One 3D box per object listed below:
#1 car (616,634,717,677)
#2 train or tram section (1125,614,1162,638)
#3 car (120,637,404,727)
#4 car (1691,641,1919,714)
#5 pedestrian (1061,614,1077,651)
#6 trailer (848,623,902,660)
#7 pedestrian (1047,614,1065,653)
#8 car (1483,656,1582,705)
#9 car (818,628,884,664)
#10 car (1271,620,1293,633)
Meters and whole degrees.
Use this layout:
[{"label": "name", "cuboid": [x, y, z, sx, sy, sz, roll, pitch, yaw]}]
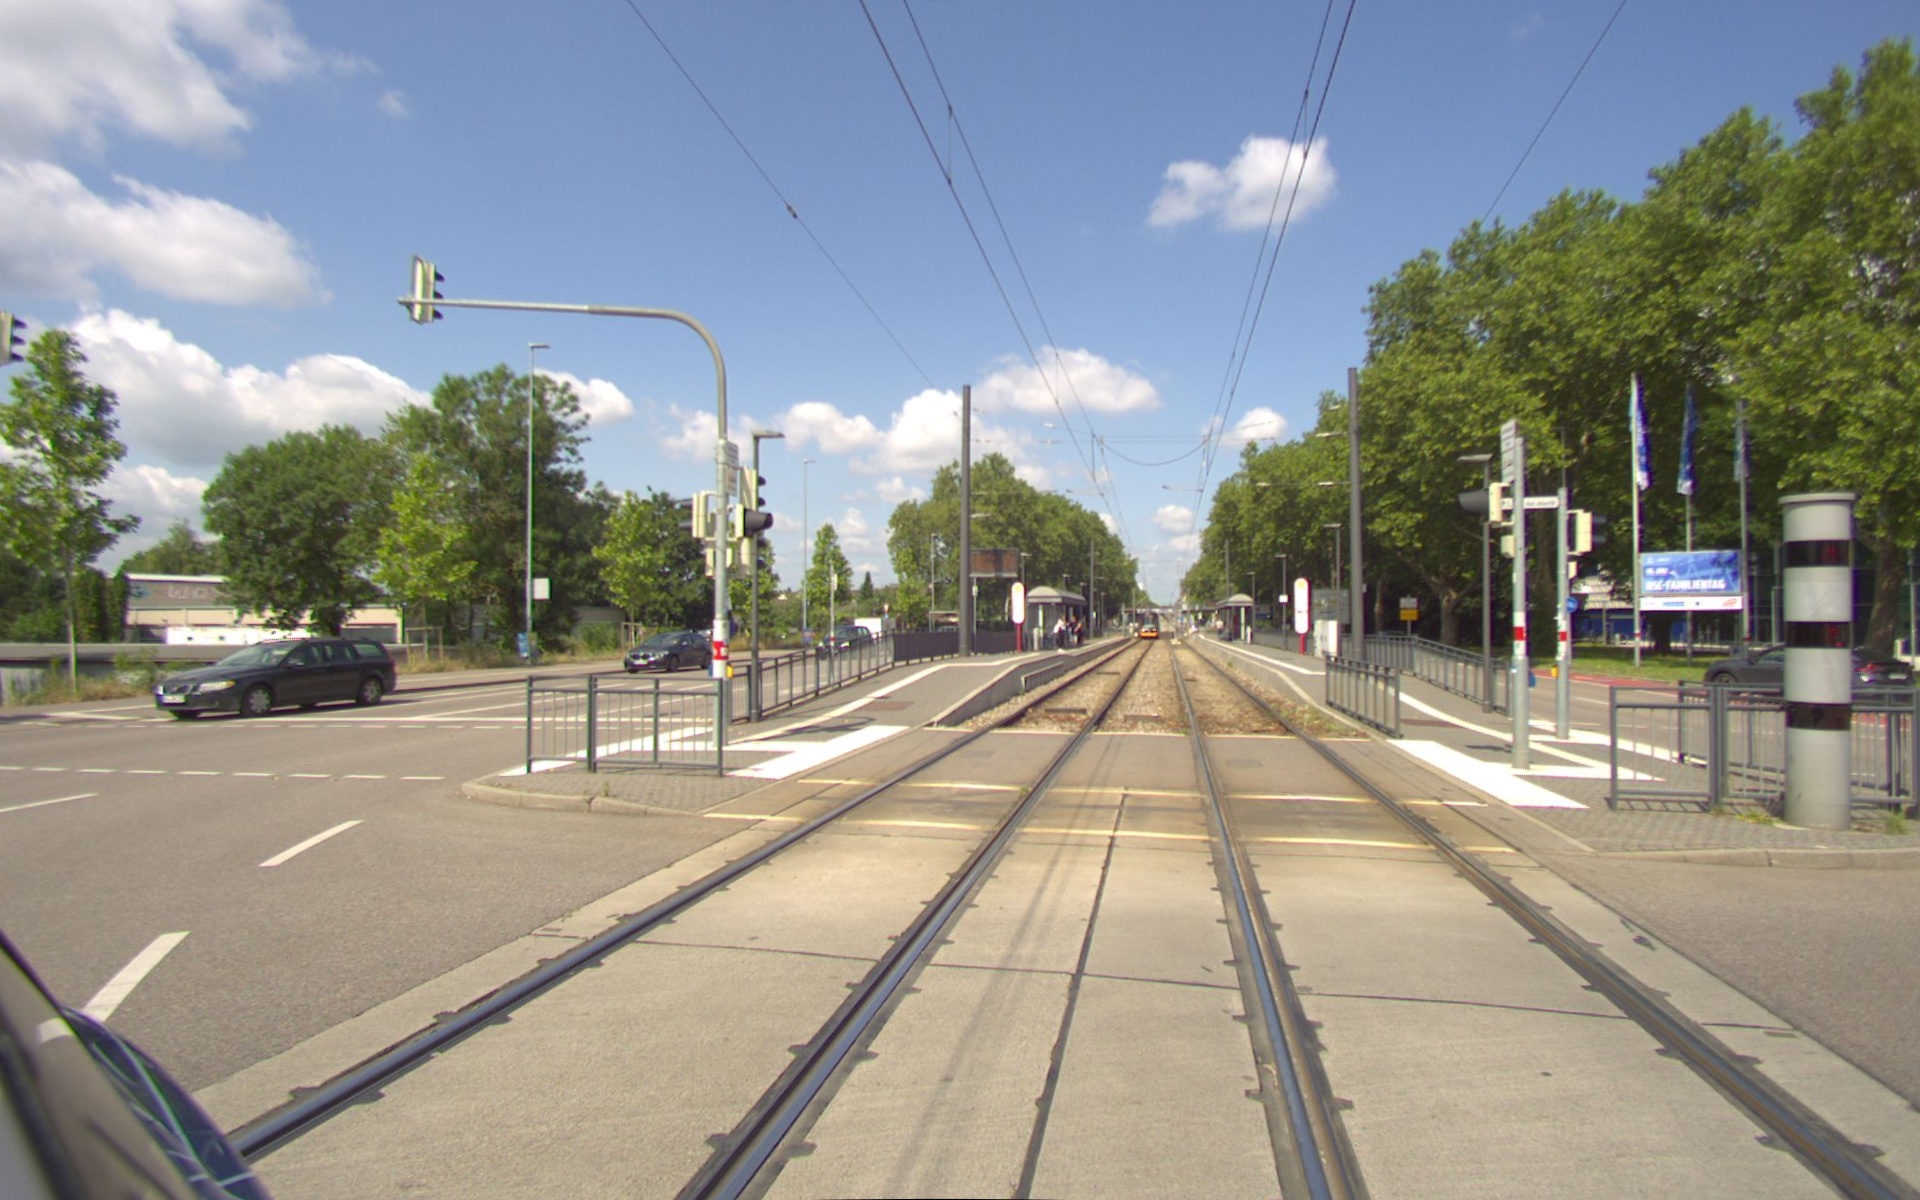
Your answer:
[{"label": "car", "cuboid": [-10.747, 2.016, 37.346, 1.714, 1.458, 4.049, -1, -2, 15]}, {"label": "train or tram section", "cuboid": [25.992, 3.738, 141.951, 4.483, 3.055, 25.031, 0, -2, 12]}, {"label": "car", "cuboid": [-13.975, 1.575, 20.687, 1.947, 1.520, 4.763, -2, -2, 12]}, {"label": "car", "cuboid": [20.335, 1.778, 24.261, 1.988, 1.388, 4.262, -1, 0, -14]}, {"label": "pedestrian", "cuboid": [5.485, 1.630, 50.869, 0.752, 1.867, 0.791, 0, -2, 6]}, {"label": "trailer", "cuboid": [-4.378, 2.159, 52.926, 1.803, 1.845, 5.170, 0, -2, 7]}, {"label": "pedestrian", "cuboid": [4.222, 1.485, 44.682, 0.753, 1.722, 0.790, 0, -2, 9]}, {"label": "car", "cuboid": [21.445, 2.982, 38.087, 1.978, 1.608, 3.988, 0, -1, 10]}, {"label": "car", "cuboid": [-5.063, 2.140, 47.721, 1.976, 1.586, 5.240, 0, -2, 7]}, {"label": "car", "cuboid": [39.122, 3.216, 122.858, 1.978, 1.475, 3.988, 0, -1, 10]}]
